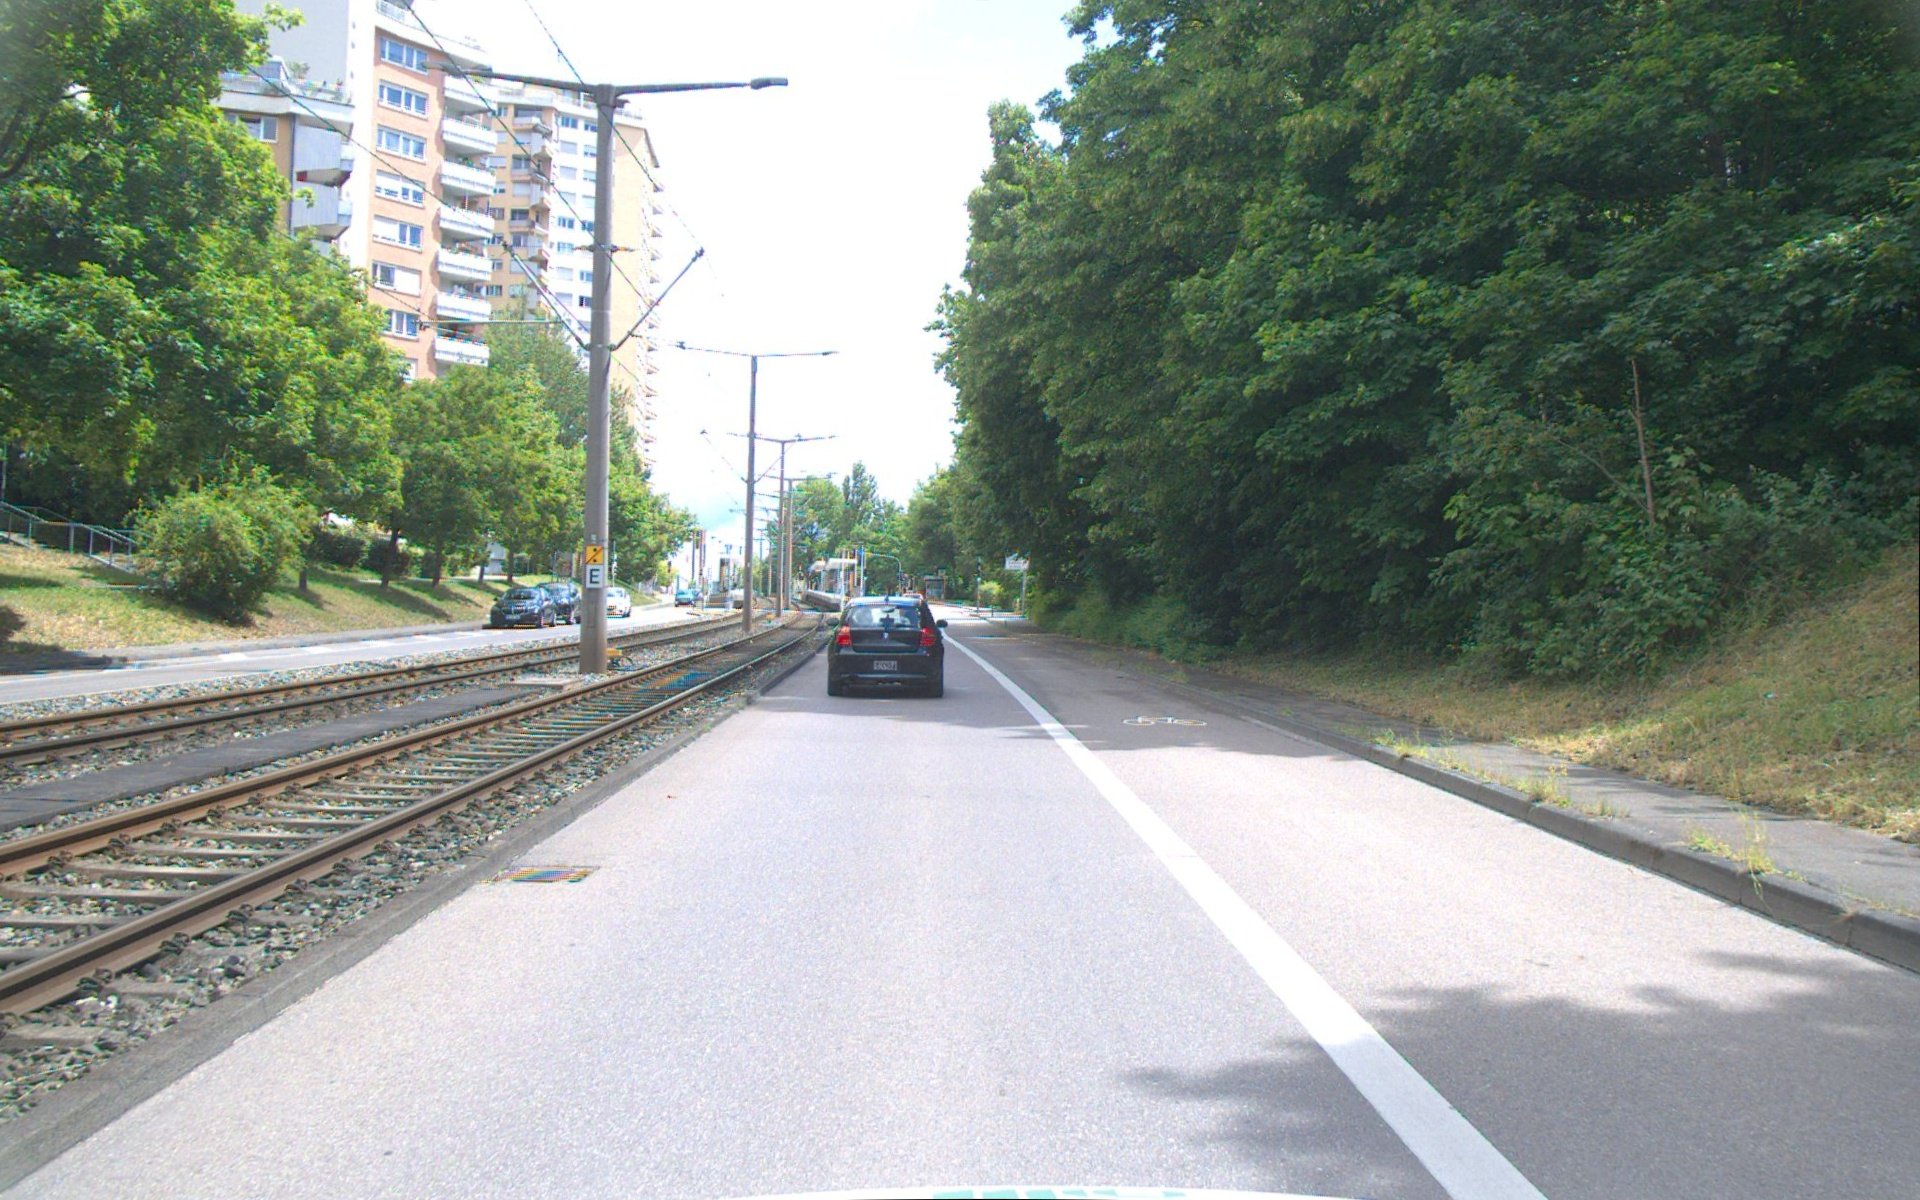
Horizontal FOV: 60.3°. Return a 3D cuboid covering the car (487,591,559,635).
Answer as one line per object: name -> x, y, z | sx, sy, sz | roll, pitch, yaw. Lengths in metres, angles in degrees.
car -> -15.613, 0.444, 59.256 | 1.739, 1.525, 3.994 | 1, 0, -4

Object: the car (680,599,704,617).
car -> -21.875, 0.635, 134.941 | 1.686, 1.467, 3.930 | 1, 0, -12

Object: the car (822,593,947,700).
car -> -1.172, 0.638, 25.094 | 1.746, 1.485, 3.918 | 0, 0, -4

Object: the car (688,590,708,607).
car -> -25.438, -0.111, 160.770 | 1.682, 1.591, 3.693 | 1, 0, -6

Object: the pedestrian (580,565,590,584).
pedestrian -> -30.064, -2.055, 132.599 | 0.620, 1.561, 0.635 | 0, 0, 16

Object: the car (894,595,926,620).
car -> -3.106, 0.419, 101.838 | 1.746, 1.485, 3.917 | 1, 0, -5

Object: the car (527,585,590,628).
car -> -15.964, 0.259, 65.929 | 1.739, 1.658, 4.378 | 0, -1, -4

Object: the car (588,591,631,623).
car -> -17.530, 0.350, 82.967 | 1.747, 1.559, 4.238 | 0, 0, -7
